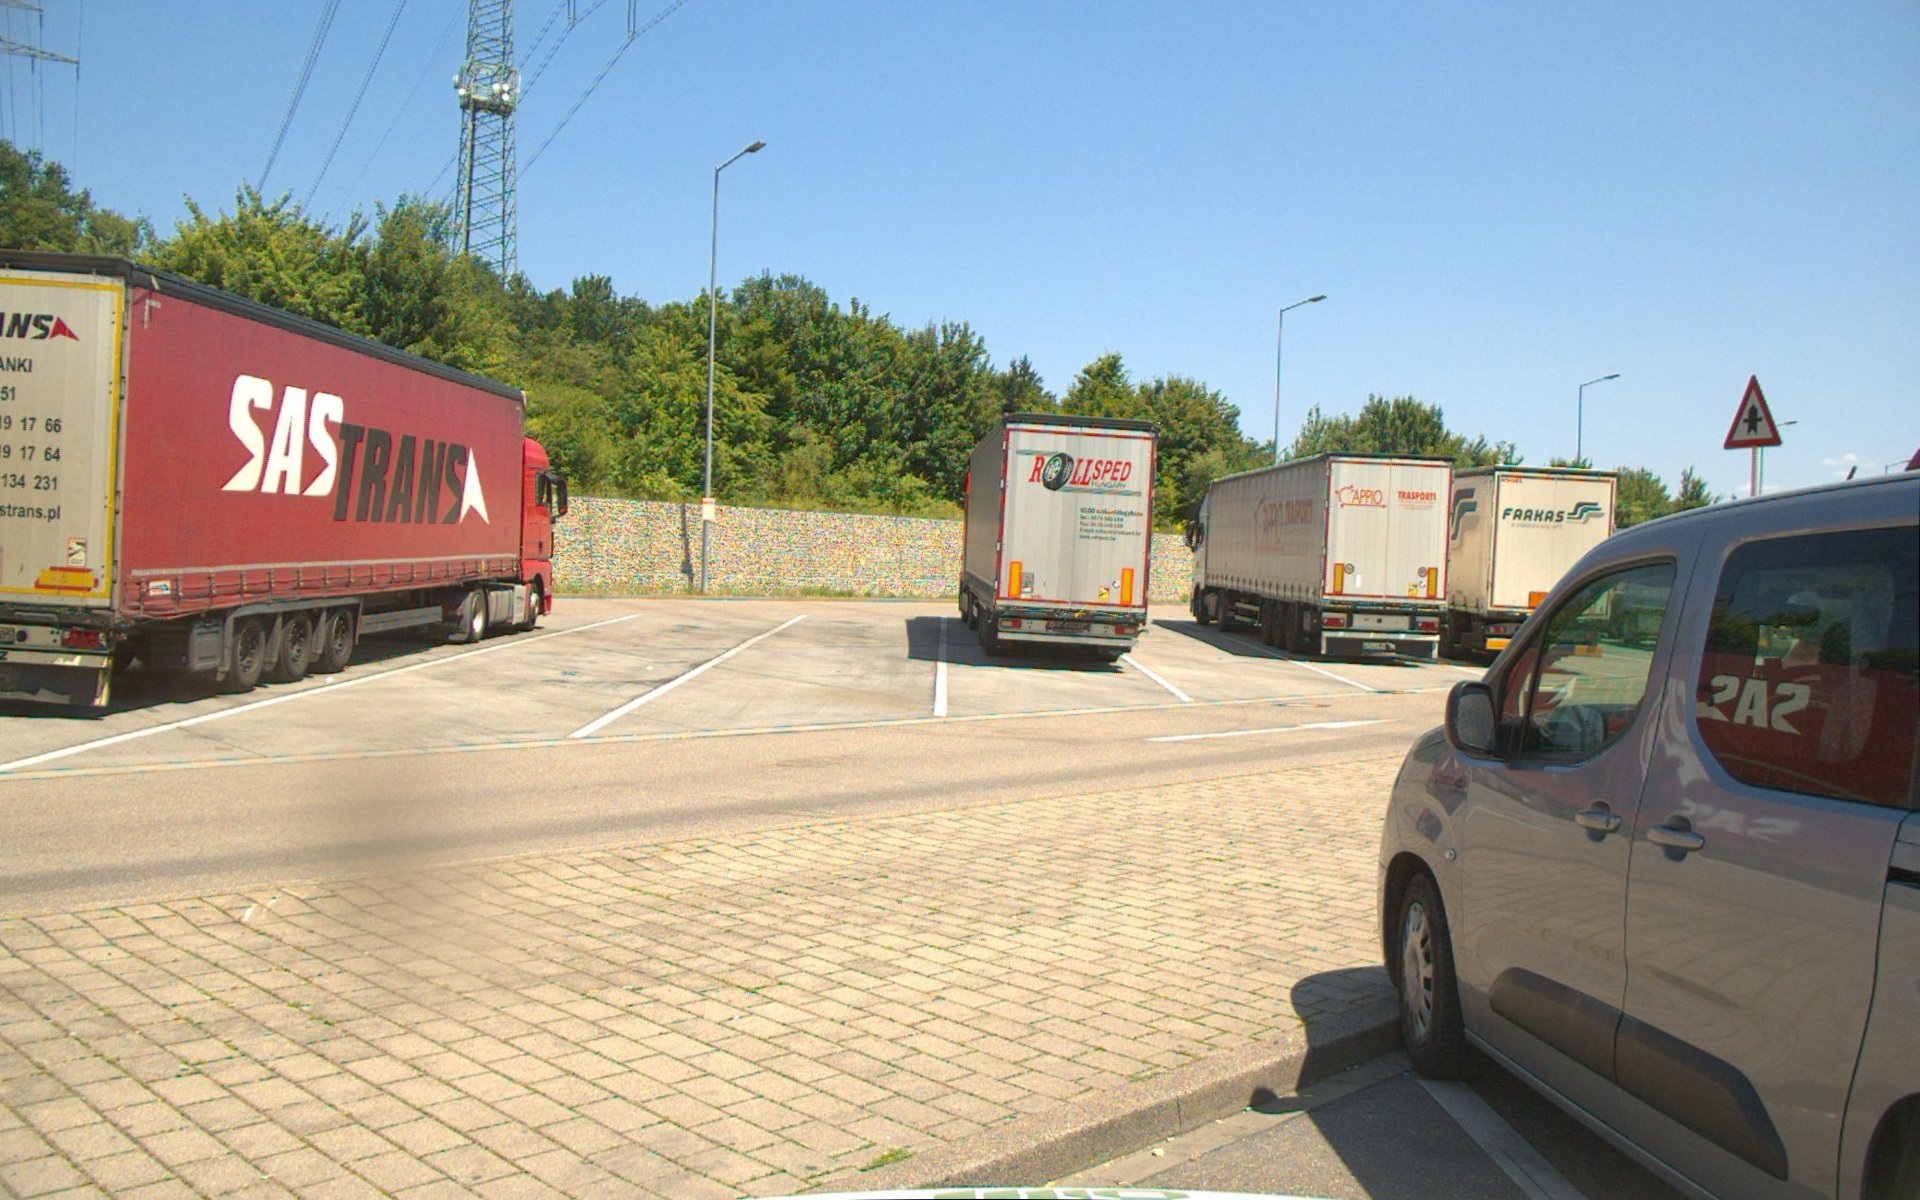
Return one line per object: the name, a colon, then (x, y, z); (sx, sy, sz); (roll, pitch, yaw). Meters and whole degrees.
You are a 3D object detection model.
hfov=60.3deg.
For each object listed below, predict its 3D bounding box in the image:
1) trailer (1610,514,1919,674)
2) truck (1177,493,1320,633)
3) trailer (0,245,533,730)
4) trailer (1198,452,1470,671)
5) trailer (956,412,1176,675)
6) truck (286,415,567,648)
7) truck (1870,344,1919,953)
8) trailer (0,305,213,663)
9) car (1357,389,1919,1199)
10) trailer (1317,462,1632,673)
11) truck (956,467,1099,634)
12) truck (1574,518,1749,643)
trailer: (21.857, -0.388, 44.496); (2.754, 3.568, 14.395); (3, 2, -1)
truck: (8.067, -1.092, 46.940); (2.804, 3.582, 5.900); (3, 2, -1)
trailer: (-8.712, -1.291, 21.425); (2.735, 4.155, 14.131); (3, 2, -1)
trailer: (8.185, -1.028, 38.840); (2.754, 4.058, 14.395); (3, 2, -1)
trailer: (1.672, -1.193, 33.631); (3.070, 4.058, 14.393); (3, 2, -1)
truck: (-8.777, -1.151, 27.996); (2.793, 3.385, 5.900); (3, 2, -1)
truck: (5.015, 0.202, 4.969); (1.937, 2.668, 5.307); (1, 0, 4)
trailer: (-12.538, -1.337, 17.702); (2.739, 4.155, 14.131); (3, 2, -1)
car: (2.453, 0.605, 3.845); (1.832, 1.896, 4.174); (3, 1, -2)
trailer: (11.747, -0.933, 39.945); (2.754, 4.058, 14.395); (3, 2, -1)
truck: (1.515, -1.239, 40.522); (3.041, 3.628, 5.900); (3, 2, -1)
truck: (21.780, -0.693, 51.725); (2.746, 3.582, 5.900); (3, 2, -1)
